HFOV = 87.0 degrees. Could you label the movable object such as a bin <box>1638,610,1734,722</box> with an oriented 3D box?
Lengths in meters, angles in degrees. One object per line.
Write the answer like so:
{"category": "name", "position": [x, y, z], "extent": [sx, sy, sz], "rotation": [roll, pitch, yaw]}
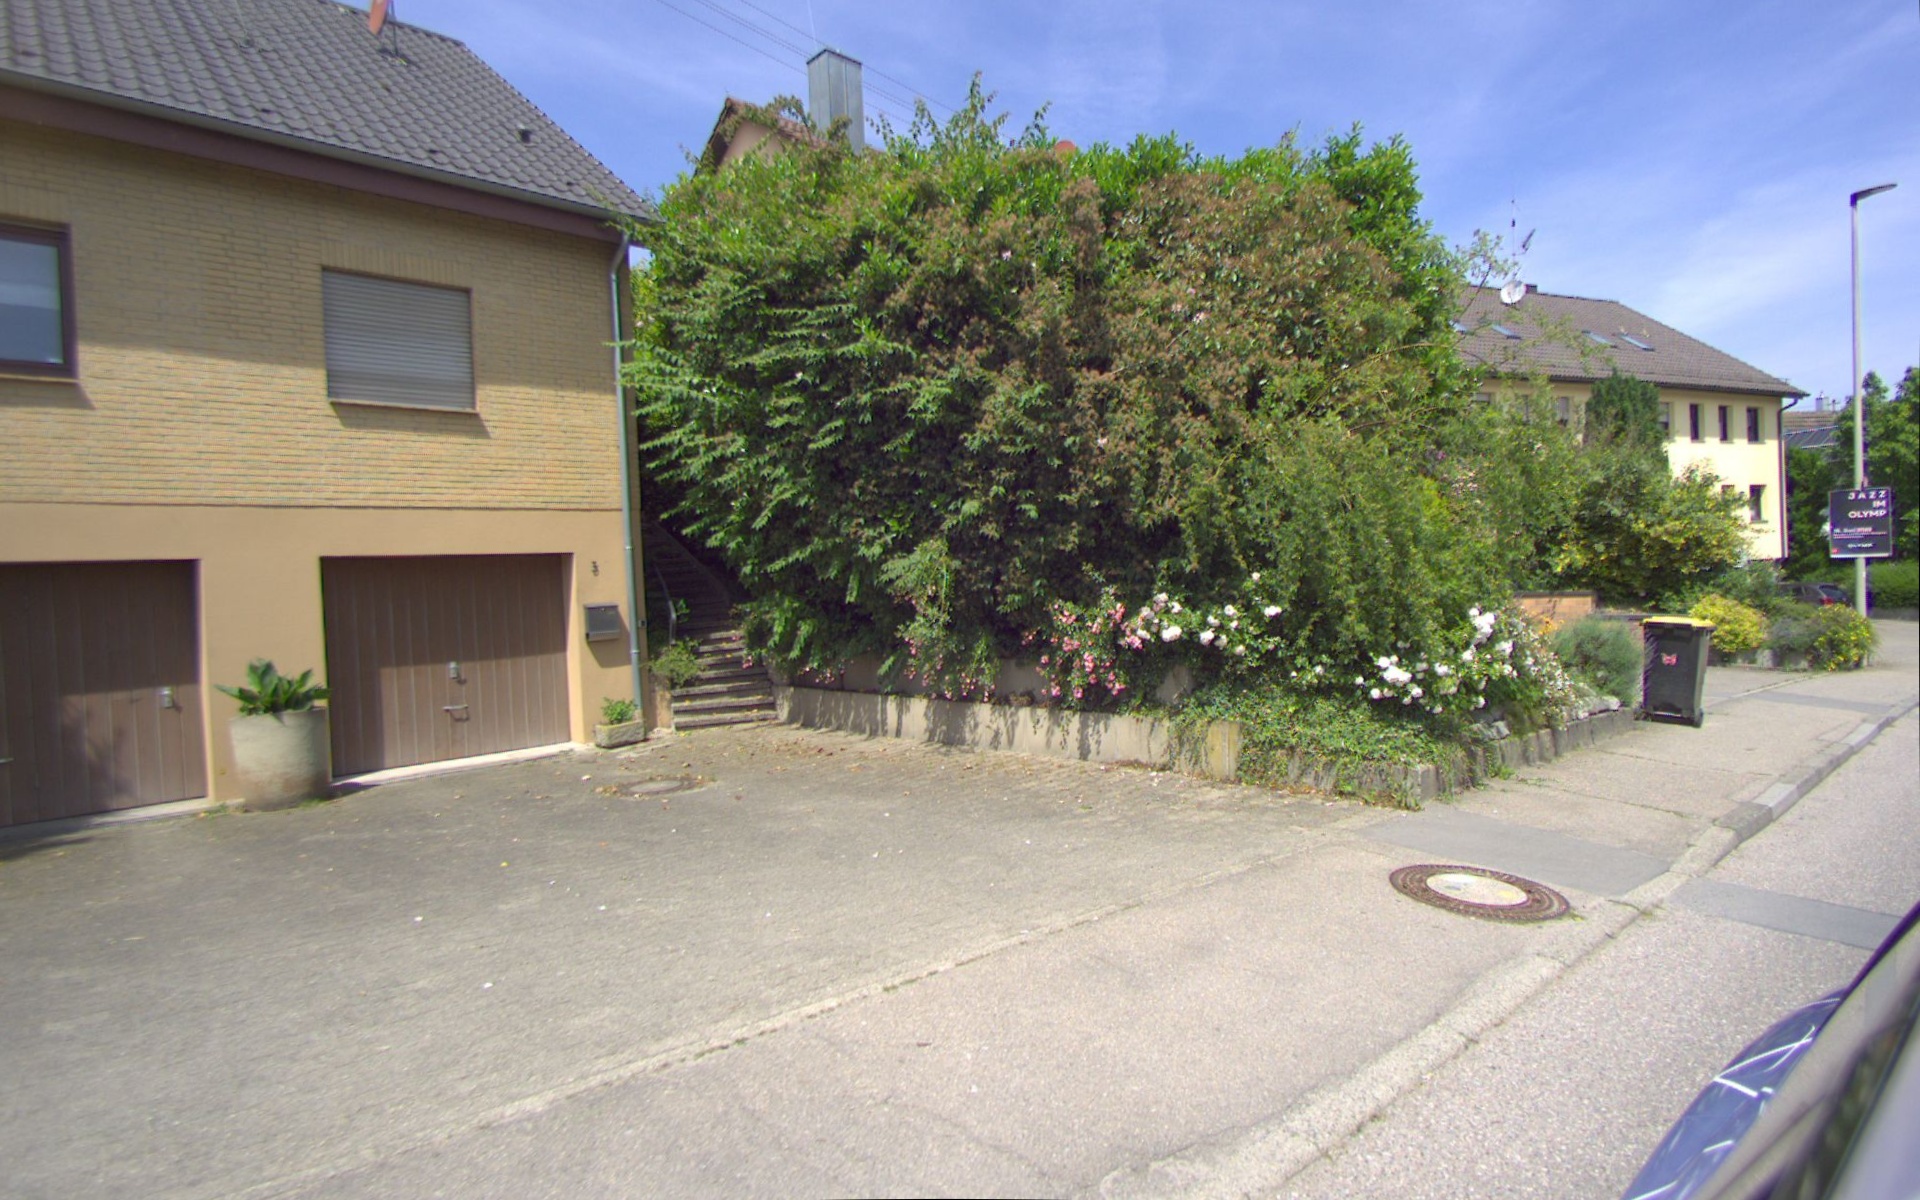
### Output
{"category": "movable object such as a bin", "position": [7.476, 0.655, 10.420], "extent": [0.903, 1.072, 0.589], "rotation": [0, 0, -39]}

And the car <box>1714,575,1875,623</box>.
{"category": "car", "position": [27.011, -0.047, 32.900], "extent": [1.610, 1.435, 3.700], "rotation": [-2, 1, -23]}

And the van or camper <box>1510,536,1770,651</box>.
{"category": "van or camper", "position": [17.984, -0.116, 27.136], "extent": [2.238, 2.680, 5.251], "rotation": [-3, 0, -25]}
